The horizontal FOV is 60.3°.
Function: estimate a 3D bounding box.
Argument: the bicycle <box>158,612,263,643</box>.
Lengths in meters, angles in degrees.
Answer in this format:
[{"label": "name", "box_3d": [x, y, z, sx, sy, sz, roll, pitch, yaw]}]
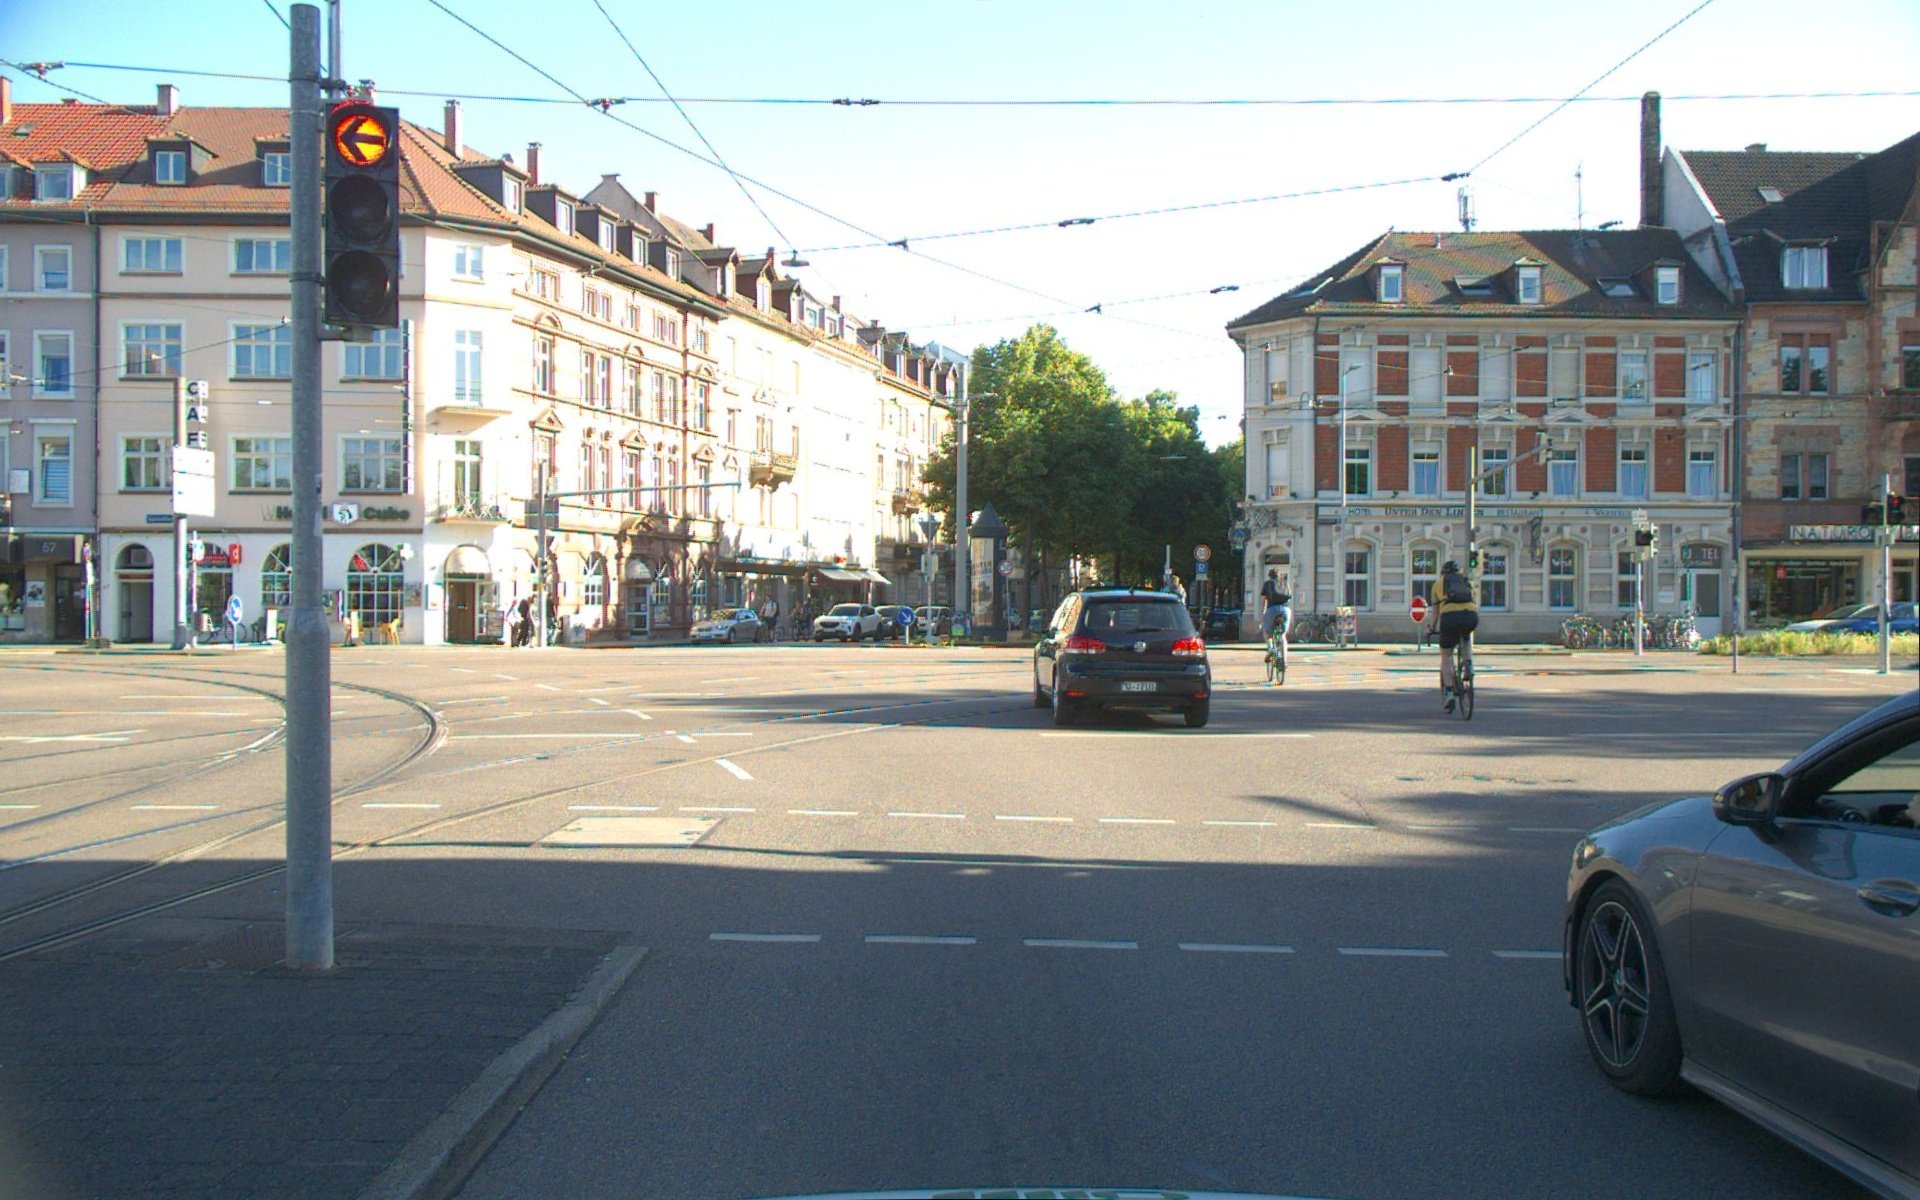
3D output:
[{"label": "bicycle", "box_3d": [-25.517, 0.936, 56.348, 3.066, 0.997, 1.001, 1, 0, -1]}]

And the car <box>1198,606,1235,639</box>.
[{"label": "car", "box_3d": [12.870, 1.119, 82.770, 1.655, 1.592, 3.844, 1, 0, 11]}]

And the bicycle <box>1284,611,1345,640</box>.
[{"label": "bicycle", "box_3d": [12.275, 0.885, 57.287, 2.006, 1.015, 0.631, 0, -1, 2]}]

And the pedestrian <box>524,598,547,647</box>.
[{"label": "pedestrian", "box_3d": [-14.637, 0.771, 57.023, 0.620, 1.662, 0.700, 1, -1, -4]}]

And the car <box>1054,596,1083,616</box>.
[{"label": "car", "box_3d": [8.706, 0.517, 132.861, 1.526, 1.540, 3.658, 1, 0, 16]}]

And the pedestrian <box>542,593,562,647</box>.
[{"label": "pedestrian", "box_3d": [-14.634, 0.716, 59.376, 0.454, 1.914, 0.635, 1, -1, 10]}]

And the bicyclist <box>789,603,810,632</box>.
[{"label": "bicyclist", "box_3d": [-6.819, 0.740, 70.210, 0.618, 1.205, 0.685, 1, -1, 20]}]

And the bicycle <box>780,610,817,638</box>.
[{"label": "bicycle", "box_3d": [-6.830, 1.025, 70.201, 0.637, 1.142, 2.253, 1, 0, 20]}]

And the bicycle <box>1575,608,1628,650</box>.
[{"label": "bicycle", "box_3d": [20.595, 0.911, 53.120, 0.678, 1.309, 2.661, 1, 0, 0]}]

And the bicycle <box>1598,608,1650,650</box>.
[{"label": "bicycle", "box_3d": [21.306, 0.920, 53.142, 0.615, 1.309, 2.661, 1, 0, 0]}]

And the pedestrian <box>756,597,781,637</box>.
[{"label": "pedestrian", "box_3d": [-7.541, 0.663, 65.082, 0.803, 1.539, 0.598, 1, -1, 14]}]

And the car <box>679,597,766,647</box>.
[{"label": "car", "box_3d": [-9.581, 0.872, 66.990, 1.951, 1.937, 4.002, 1, 0, 17]}]

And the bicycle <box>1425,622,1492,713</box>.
[{"label": "bicycle", "box_3d": [6.085, 0.797, 20.199, 0.739, 1.049, 1.781, 1, 0, 17]}]

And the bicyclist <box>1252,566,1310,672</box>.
[{"label": "bicyclist", "box_3d": [5.070, 0.296, 26.163, 0.789, 1.634, 0.884, 1, 0, 5]}]

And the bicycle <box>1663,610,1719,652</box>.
[{"label": "bicycle", "box_3d": [23.482, 0.991, 53.167, 0.615, 1.309, 2.661, 1, 0, 0]}]

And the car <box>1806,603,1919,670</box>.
[{"label": "car", "box_3d": [25.927, 1.011, 46.040, 3.706, 1.809, 1.999, 1, 0, -2]}]

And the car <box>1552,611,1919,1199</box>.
[{"label": "car", "box_3d": [3.055, 0.770, 3.687, 1.868, 1.444, 4.492, 1, 0, 0]}]

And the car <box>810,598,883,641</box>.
[{"label": "car", "box_3d": [-4.586, 0.792, 67.341, 1.951, 1.646, 4.003, 1, 0, 11]}]

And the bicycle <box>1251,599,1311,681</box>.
[{"label": "bicycle", "box_3d": [5.096, 0.622, 26.326, 0.739, 1.258, 1.704, 1, 0, 5]}]

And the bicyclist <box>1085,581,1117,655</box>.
[{"label": "bicyclist", "box_3d": [2.973, 0.362, 34.932, 0.625, 1.520, 0.884, 1, 1, 3]}]

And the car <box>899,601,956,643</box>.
[{"label": "car", "box_3d": [-1.528, 1.065, 79.675, 1.951, 1.937, 4.003, 1, 0, 11]}]

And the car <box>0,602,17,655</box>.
[{"label": "car", "box_3d": [-32.387, 0.907, 52.427, 3.902, 1.699, 2.002, 0, 0, 8]}]

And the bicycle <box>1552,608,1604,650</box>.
[{"label": "bicycle", "box_3d": [19.824, 0.917, 53.112, 0.678, 1.309, 2.661, 1, 0, 0]}]

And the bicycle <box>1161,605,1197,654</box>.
[{"label": "bicycle", "box_3d": [4.937, 0.652, 37.211, 0.635, 1.049, 1.772, 1, 0, 12]}]

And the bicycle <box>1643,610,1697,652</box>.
[{"label": "bicycle", "box_3d": [22.798, 0.975, 53.168, 0.615, 1.309, 2.661, 1, 0, 0]}]

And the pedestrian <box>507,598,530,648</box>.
[{"label": "pedestrian", "box_3d": [-14.861, 0.763, 55.667, 0.620, 1.662, 0.700, 1, -1, -4]}]

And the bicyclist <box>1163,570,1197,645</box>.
[{"label": "bicyclist", "box_3d": [4.972, 0.176, 37.311, 0.675, 1.662, 0.884, 1, -1, 12]}]

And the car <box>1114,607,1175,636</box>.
[{"label": "car", "box_3d": [12.855, 1.462, 115.146, 3.902, 1.937, 2.001, 1, 0, 15]}]

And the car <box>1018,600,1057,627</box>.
[{"label": "car", "box_3d": [5.758, 1.018, 122.785, 1.951, 1.937, 4.002, 1, 0, 16]}]

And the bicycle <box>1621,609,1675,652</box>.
[{"label": "bicycle", "box_3d": [22.083, 0.964, 53.144, 0.615, 1.309, 2.661, 1, 0, 0]}]

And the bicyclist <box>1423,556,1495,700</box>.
[{"label": "bicyclist", "box_3d": [6.025, 0.327, 19.993, 0.789, 1.692, 0.884, 1, -1, 16]}]

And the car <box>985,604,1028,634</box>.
[{"label": "car", "box_3d": [3.184, 1.284, 112.731, 1.951, 1.937, 4.002, 1, 0, 16]}]

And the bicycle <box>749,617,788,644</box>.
[{"label": "bicycle", "box_3d": [-7.529, 1.203, 65.154, 0.746, 1.025, 2.398, 1, 0, 13]}]

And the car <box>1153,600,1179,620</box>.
[{"label": "car", "box_3d": [16.828, 0.832, 134.955, 1.526, 1.540, 3.658, 1, 0, 16]}]

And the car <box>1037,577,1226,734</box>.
[{"label": "car", "box_3d": [1.872, 0.554, 19.194, 1.693, 1.534, 4.050, 1, 2, -1]}]

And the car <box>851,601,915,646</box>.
[{"label": "car", "box_3d": [-3.382, 1.021, 73.492, 1.951, 1.937, 4.003, 1, 0, 11]}]
